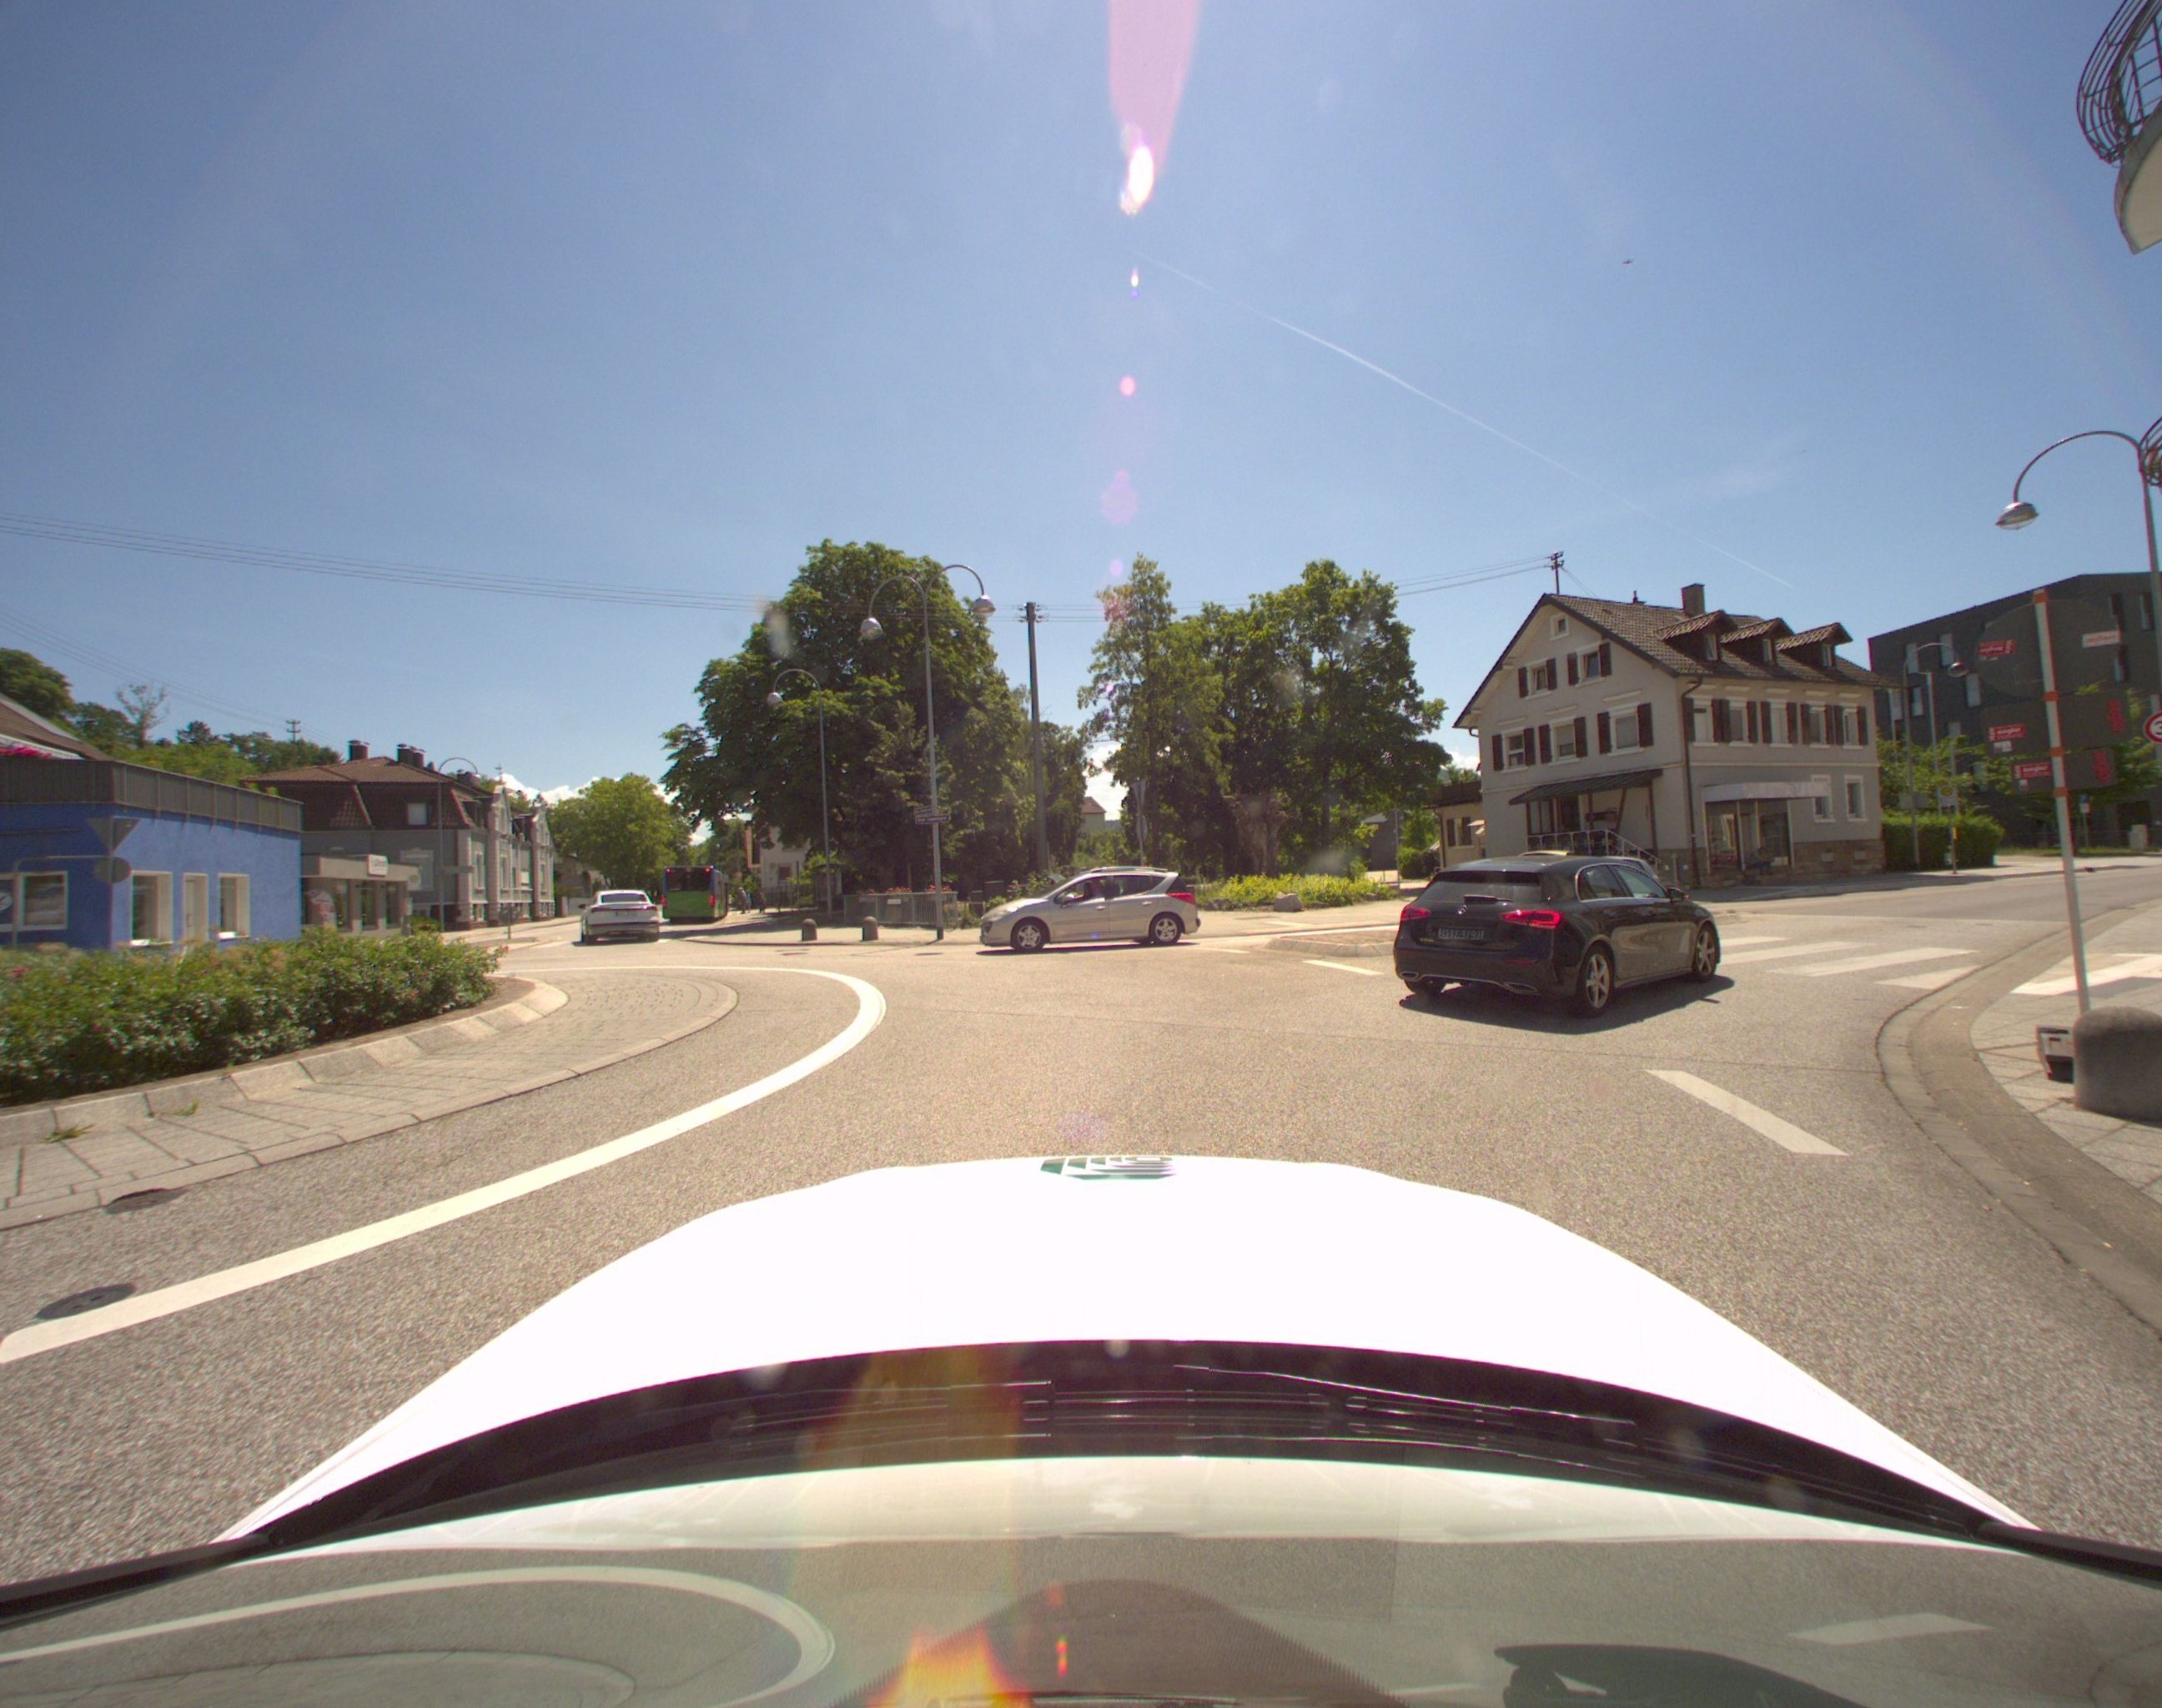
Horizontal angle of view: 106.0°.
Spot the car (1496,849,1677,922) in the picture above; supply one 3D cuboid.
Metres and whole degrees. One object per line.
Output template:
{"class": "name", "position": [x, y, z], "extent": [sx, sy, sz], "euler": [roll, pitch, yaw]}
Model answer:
{"class": "car", "position": [11.932, 0.745, 19.255], "extent": [3.718, 1.413, 1.539], "euler": [-3, -5, -20]}

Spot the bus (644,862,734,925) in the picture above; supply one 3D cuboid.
{"class": "bus", "position": [-23.684, 2.454, 50.247], "extent": [3.721, 3.172, 17.934], "euler": [0, -3, -22]}

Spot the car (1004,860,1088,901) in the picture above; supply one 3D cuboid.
{"class": "car", "position": [-1.870, 1.433, 43.849], "extent": [3.950, 2.014, 2.012], "euler": [-4, -2, 27]}

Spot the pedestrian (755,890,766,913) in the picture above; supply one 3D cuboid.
{"class": "pedestrian", "position": [-20.200, 2.985, 51.333], "extent": [0.492, 1.454, 0.525], "euler": [-2, -2, -29]}

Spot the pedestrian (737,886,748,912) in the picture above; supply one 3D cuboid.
{"class": "pedestrian", "position": [-22.309, 2.945, 53.662], "extent": [0.505, 1.650, 0.574], "euler": [-2, -2, -29]}

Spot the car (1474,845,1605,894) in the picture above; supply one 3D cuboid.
{"class": "car", "position": [16.845, 0.607, 30.119], "extent": [1.758, 1.640, 3.972], "euler": [-2, -1, -20]}

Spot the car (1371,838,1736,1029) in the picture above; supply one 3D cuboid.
{"class": "car", "position": [5.174, 0.609, 8.676], "extent": [4.459, 1.457, 1.749], "euler": [-2, 2, -37]}

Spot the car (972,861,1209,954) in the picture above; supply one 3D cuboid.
{"class": "car", "position": [0.120, 0.977, 15.535], "extent": [4.199, 1.517, 1.737], "euler": [-1, -3, -13]}

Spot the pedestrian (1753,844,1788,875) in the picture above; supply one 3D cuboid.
{"class": "pedestrian", "position": [24.677, 0.196, 29.147], "extent": [0.701, 1.054, 0.666], "euler": [-2, -2, -25]}

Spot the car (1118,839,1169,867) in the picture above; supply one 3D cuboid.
{"class": "car", "position": [5.098, -0.093, 66.567], "extent": [3.971, 2.014, 2.001], "euler": [-3, -1, 2]}

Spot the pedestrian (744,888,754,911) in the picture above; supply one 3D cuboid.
{"class": "pedestrian", "position": [-22.189, 3.053, 54.464], "extent": [0.492, 1.522, 0.537], "euler": [-2, -2, -29]}

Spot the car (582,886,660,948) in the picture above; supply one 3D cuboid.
{"class": "car", "position": [-14.497, 1.910, 25.548], "extent": [1.911, 1.662, 4.364], "euler": [-2, -2, -32]}

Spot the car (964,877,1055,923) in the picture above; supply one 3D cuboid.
{"class": "car", "position": [-2.760, 1.765, 31.599], "extent": [3.073, 1.553, 1.616], "euler": [-2, -1, -37]}
